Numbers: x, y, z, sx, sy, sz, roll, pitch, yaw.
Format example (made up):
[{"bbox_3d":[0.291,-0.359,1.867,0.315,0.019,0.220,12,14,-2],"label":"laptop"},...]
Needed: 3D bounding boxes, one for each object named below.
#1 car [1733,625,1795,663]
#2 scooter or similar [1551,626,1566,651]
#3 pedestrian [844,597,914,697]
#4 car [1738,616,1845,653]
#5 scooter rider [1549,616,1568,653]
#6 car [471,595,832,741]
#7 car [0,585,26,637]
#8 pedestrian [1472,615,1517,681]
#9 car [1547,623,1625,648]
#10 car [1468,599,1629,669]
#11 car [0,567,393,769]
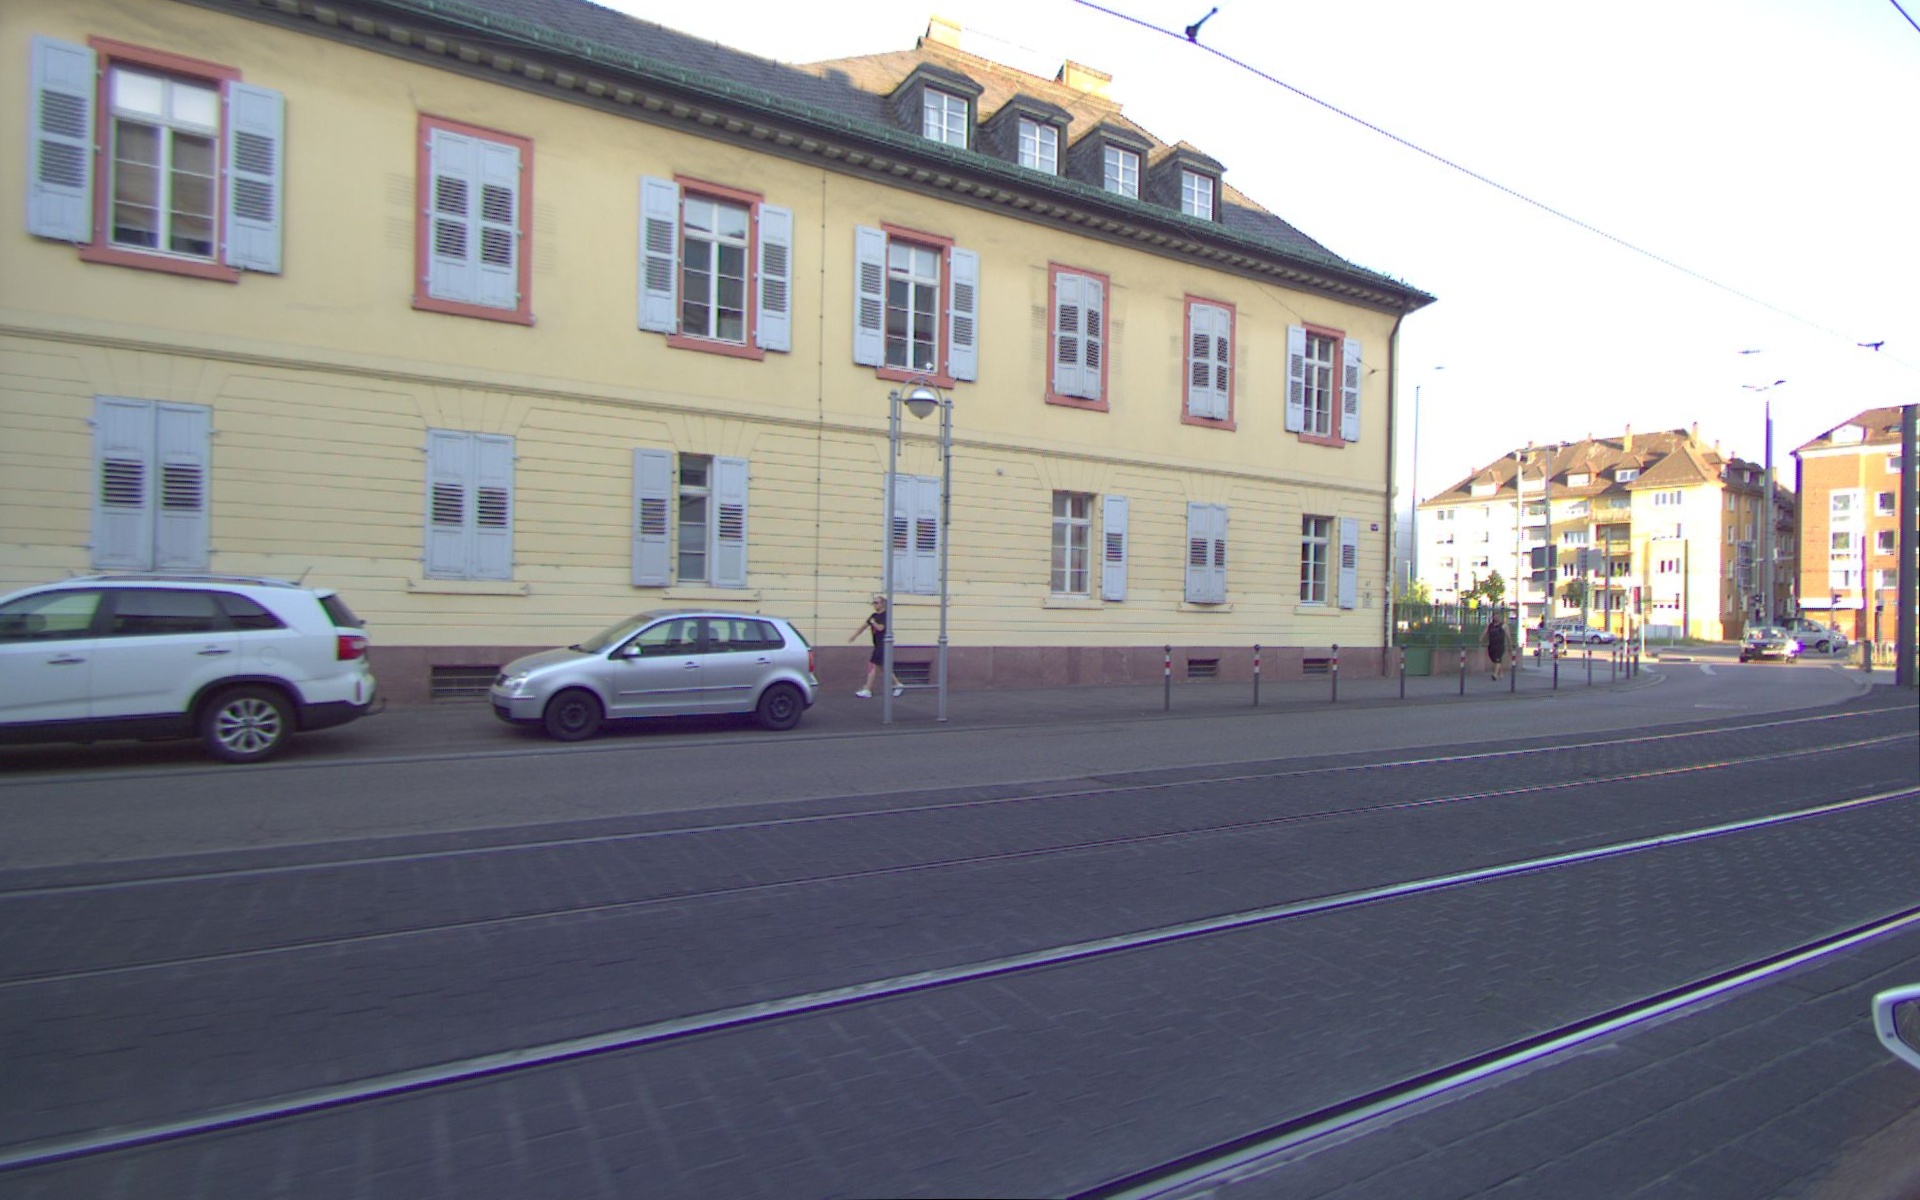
[{"bbox_3d":[32.251,1.745,40.392,1.744,1.394,4.207,1,-1,36],"label":"car"},{"bbox_3d":[26.801,1.723,44.992,0.420,1.077,1.618,3,1,35],"label":"scooter or similar"},{"bbox_3d":[-1.328,0.754,16.392,0.866,1.562,0.796,2,1,-28],"label":"pedestrian"},{"bbox_3d":[49.081,2.009,59.356,1.985,2.040,4.642,1,-1,-41],"label":"car"},{"bbox_3d":[27.034,1.561,45.356,0.577,1.614,0.655,3,1,39],"label":"scooter rider"},{"bbox_3d":[-3.746,0.737,12.322,3.953,1.494,1.739,1,1,-30],"label":"car"},{"bbox_3d":[-27.651,0.303,26.781,1.708,1.418,4.000,2,1,1],"label":"car"},{"bbox_3d":[12.882,1.146,24.210,0.712,1.556,0.715,1,-1,-34],"label":"pedestrian"},{"bbox_3d":[44.535,2.528,71.561,1.982,1.572,4.306,2,0,-37],"label":"car"},{"bbox_3d":[18.171,1.006,31.086,3.946,2.040,1.988,0,-1,45],"label":"car"},{"bbox_3d":[-8.107,0.560,9.503,4.708,1.683,1.876,1,1,-32],"label":"car"}]
